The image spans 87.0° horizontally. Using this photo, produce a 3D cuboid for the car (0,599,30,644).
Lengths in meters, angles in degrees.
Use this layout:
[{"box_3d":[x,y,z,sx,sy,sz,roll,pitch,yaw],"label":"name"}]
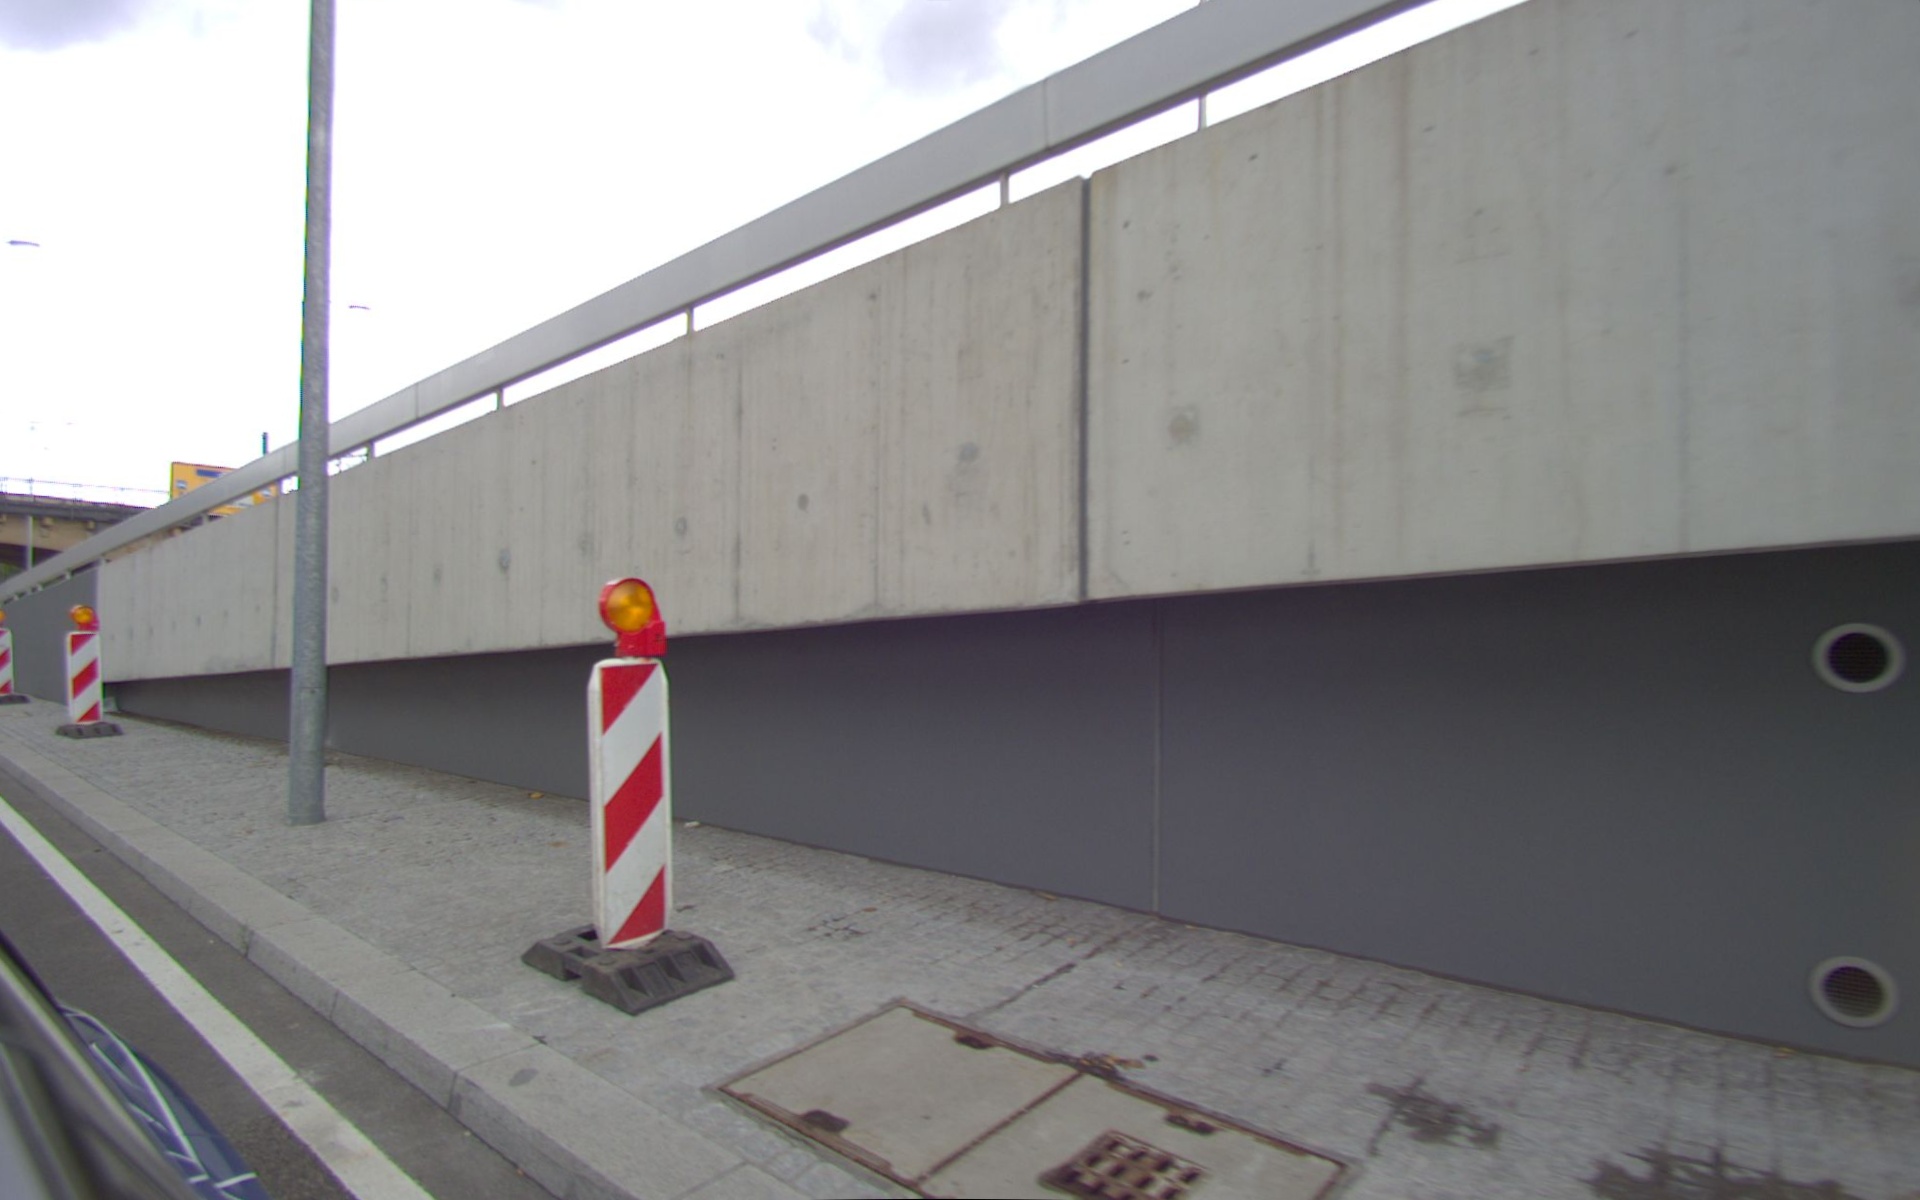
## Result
[{"box_3d":[-40.701,0.898,42.276,4.194,1.852,1.848,-1,-1,34],"label":"car"}]
